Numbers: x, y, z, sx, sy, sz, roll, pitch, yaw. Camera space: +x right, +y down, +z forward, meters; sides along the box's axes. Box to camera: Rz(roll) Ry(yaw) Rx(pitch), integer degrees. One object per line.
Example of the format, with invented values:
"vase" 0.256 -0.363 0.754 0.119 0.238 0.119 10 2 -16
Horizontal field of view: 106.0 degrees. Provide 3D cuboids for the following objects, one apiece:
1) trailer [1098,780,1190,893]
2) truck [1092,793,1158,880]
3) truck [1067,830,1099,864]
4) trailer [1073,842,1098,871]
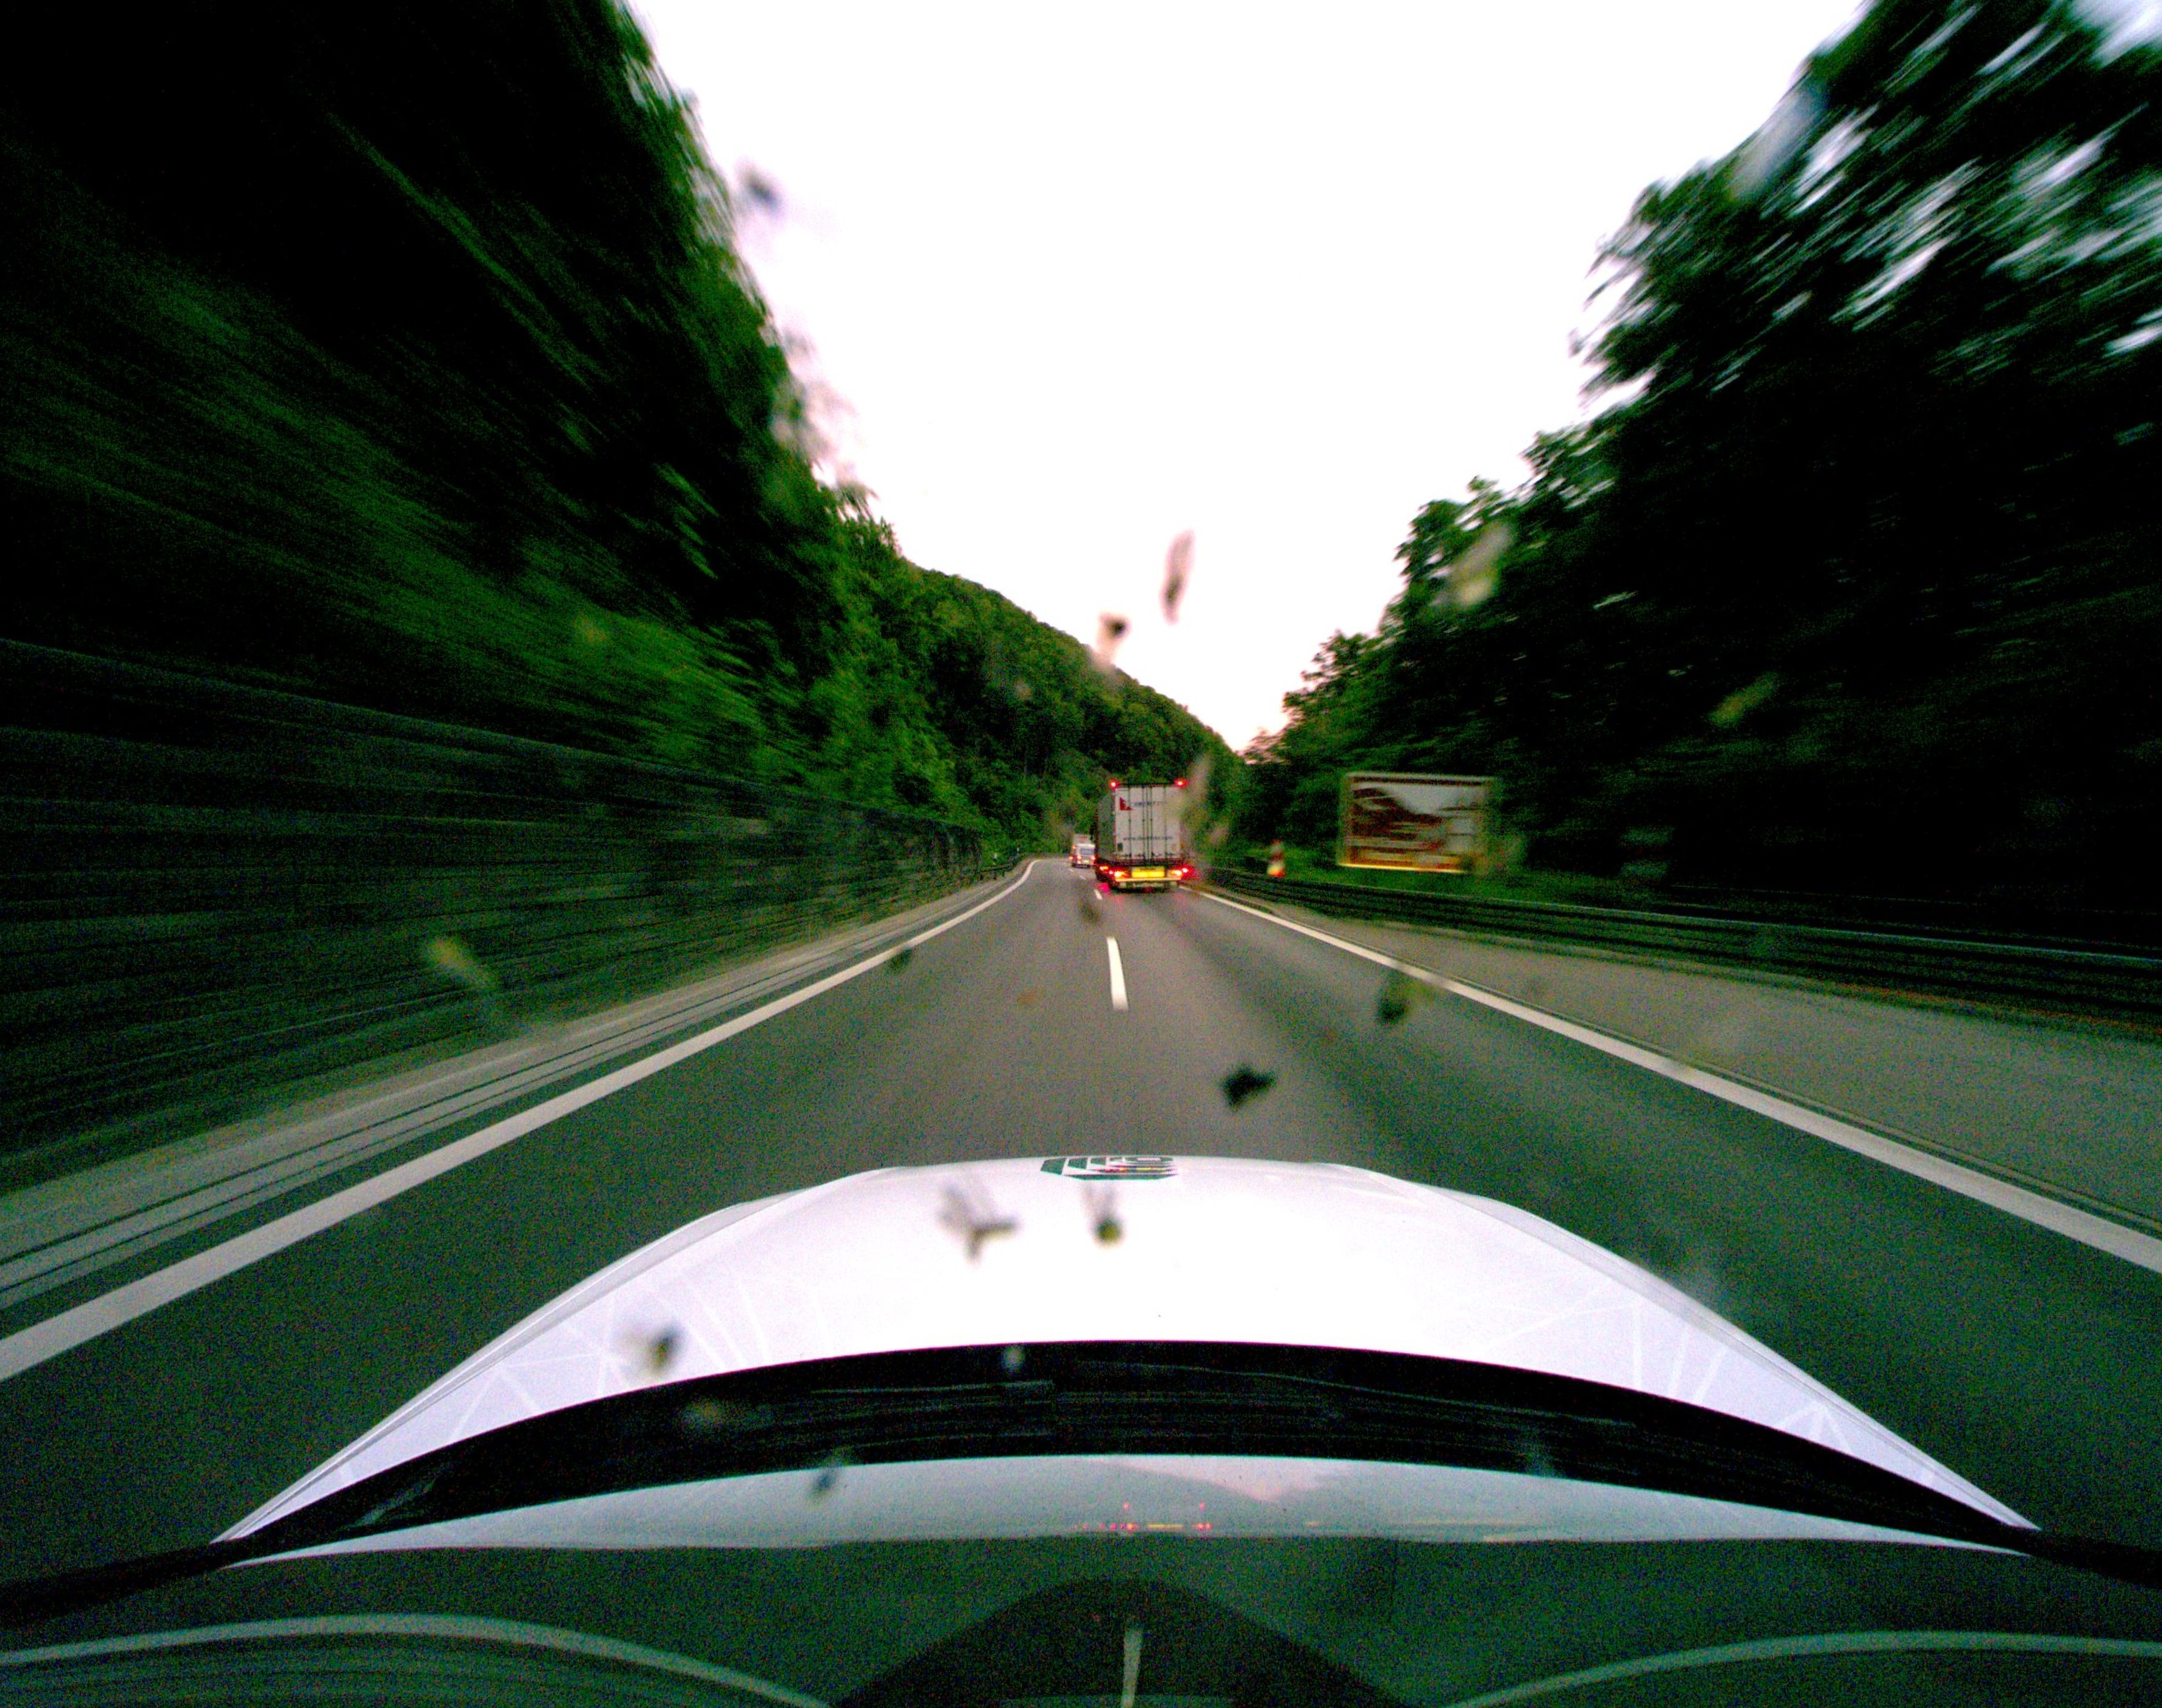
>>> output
"trailer" 2.419 -0.785 36.347 3.086 3.969 14.220 -2 1 1
"truck" 2.173 -0.896 42.382 3.059 4.144 6.446 -1 1 0
"truck" 0.449 -0.810 113.297 3.280 4.173 16.516 2 -1 4
"trailer" 0.515 0.199 77.558 2.047 2.374 5.940 5 1 1
